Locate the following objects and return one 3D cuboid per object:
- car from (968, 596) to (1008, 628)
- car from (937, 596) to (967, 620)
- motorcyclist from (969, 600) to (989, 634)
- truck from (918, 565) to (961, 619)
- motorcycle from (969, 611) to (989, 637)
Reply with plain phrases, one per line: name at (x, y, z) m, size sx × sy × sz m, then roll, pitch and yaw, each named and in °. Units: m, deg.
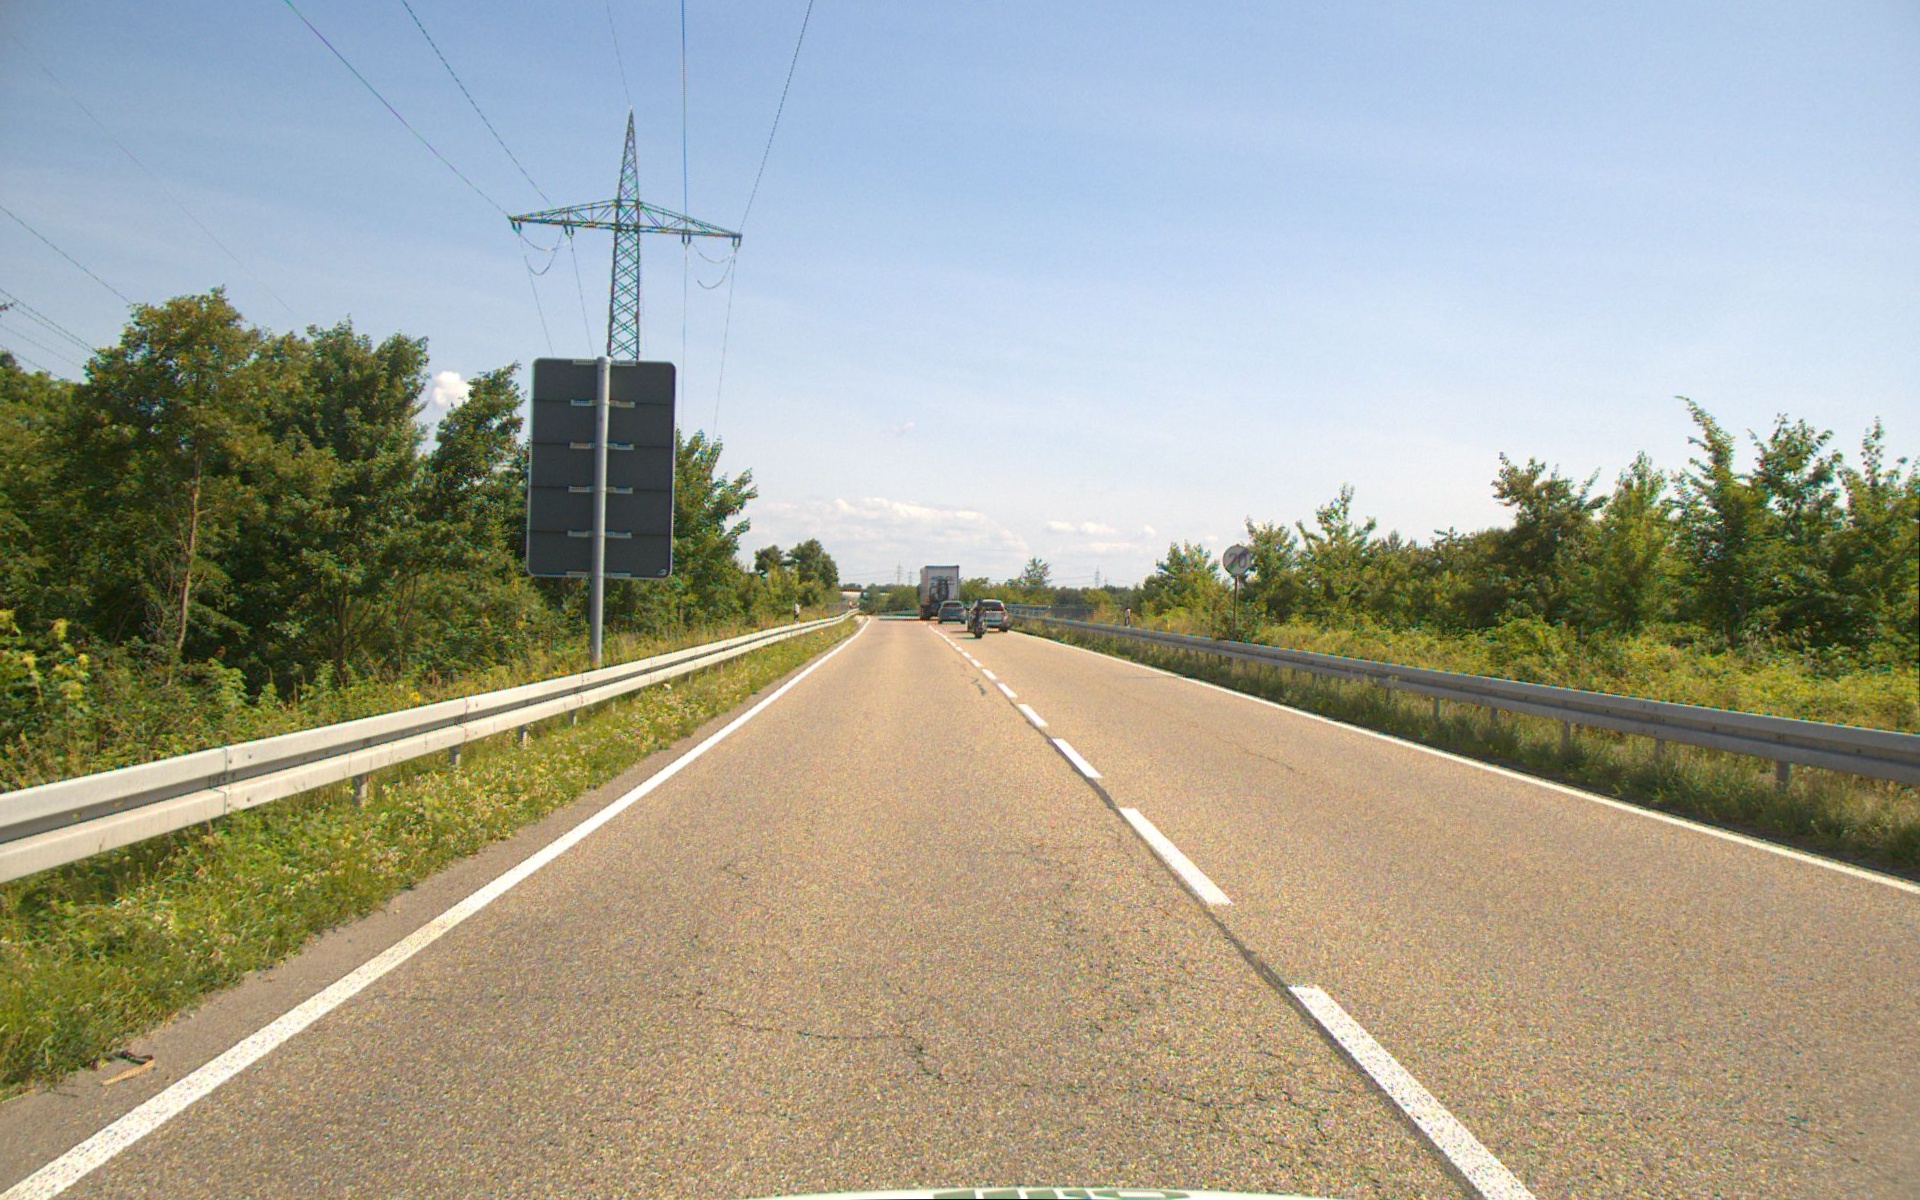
car at (1.347, 0.582, 81.209) m, size 1.788 × 1.477 × 3.999 m, roll 1°, pitch 0°, yaw -1°
car at (-0.527, 0.474, 105.243) m, size 1.828 × 1.445 × 3.999 m, roll 1°, pitch 0°, yaw -2°
motorcyclist at (0.783, 0.688, 67.413) m, size 0.764 × 1.349 × 0.813 m, roll 1°, pitch 0°, yaw -1°
truck at (-1.644, -0.580, 128.544) m, size 3.176 × 4.048 × 9.441 m, roll 1°, pitch 0°, yaw -1°
motorcycle at (0.771, 0.954, 67.393) m, size 0.764 × 0.992 × 2.361 m, roll 1°, pitch 0°, yaw -1°
